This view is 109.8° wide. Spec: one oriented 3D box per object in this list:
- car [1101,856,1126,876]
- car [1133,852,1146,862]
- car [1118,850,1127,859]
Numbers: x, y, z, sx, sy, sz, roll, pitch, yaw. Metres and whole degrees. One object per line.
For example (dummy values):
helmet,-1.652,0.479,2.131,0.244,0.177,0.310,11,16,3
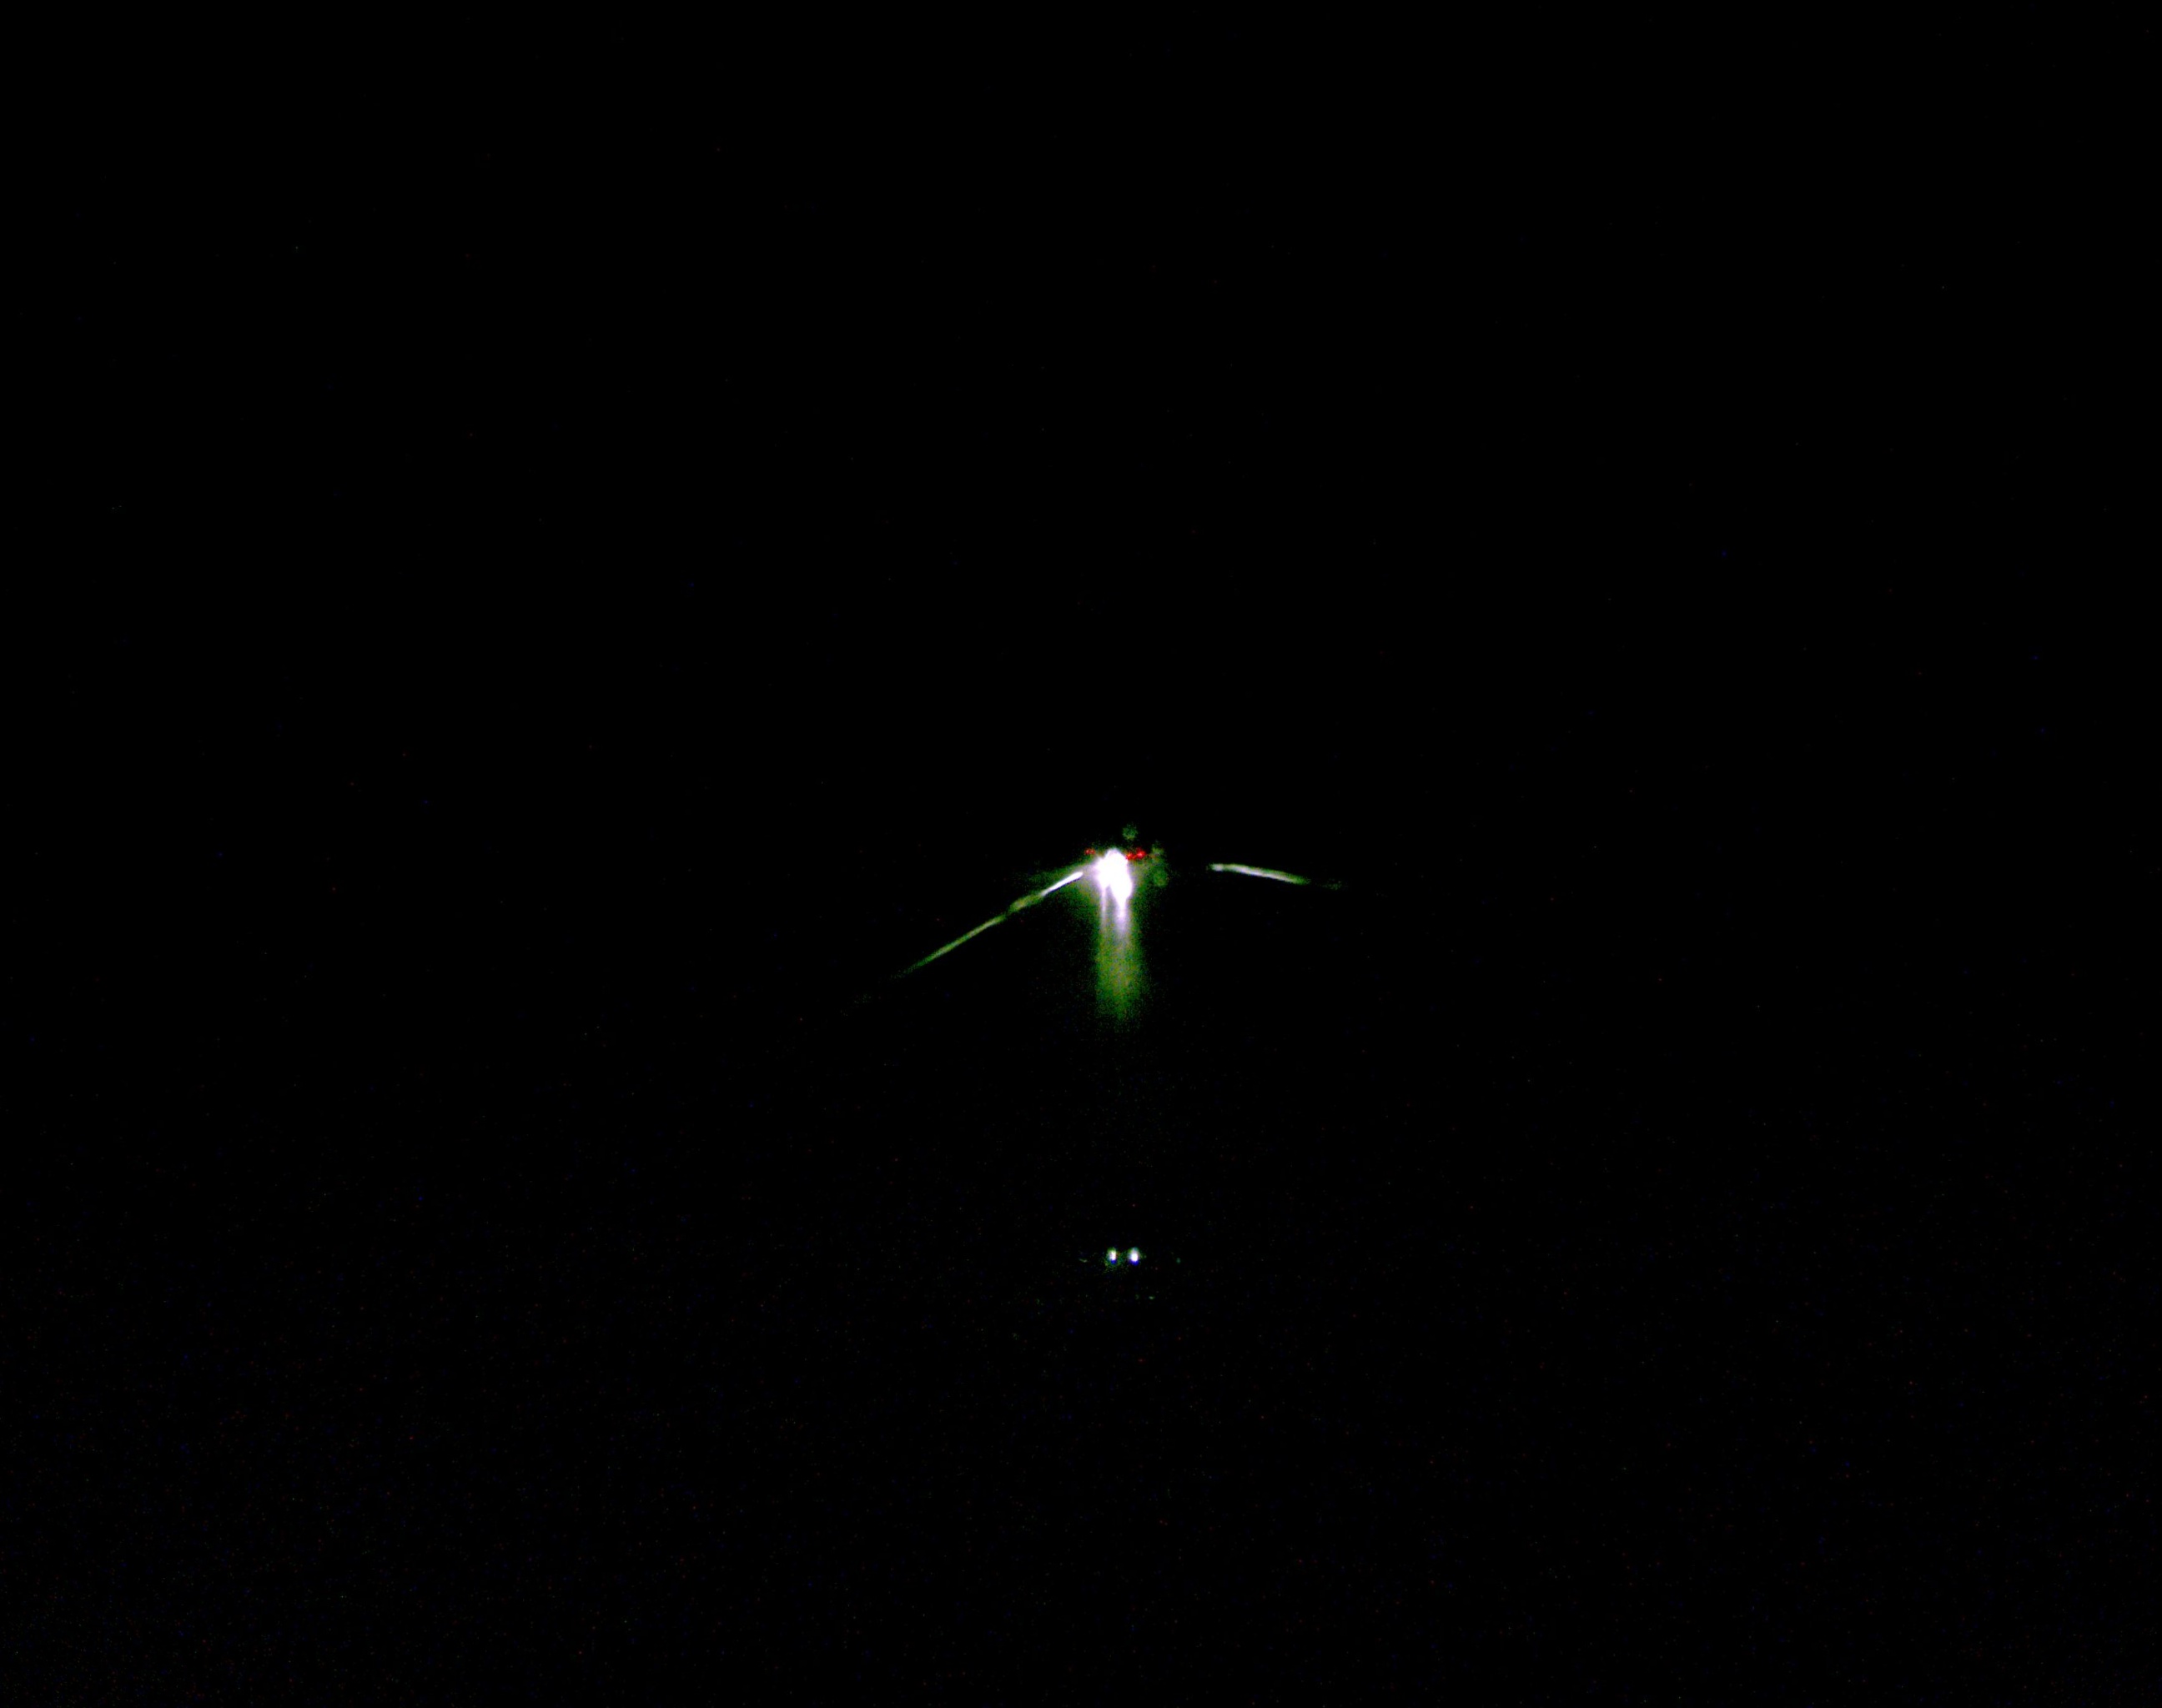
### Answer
car,2.525,0.917,60.375,1.776,1.444,4.135,-2,0,0
car,8.918,0.475,116.212,1.922,1.455,4.260,-2,0,4
car,9.697,0.112,177.055,1.859,1.929,4.000,-2,0,2
